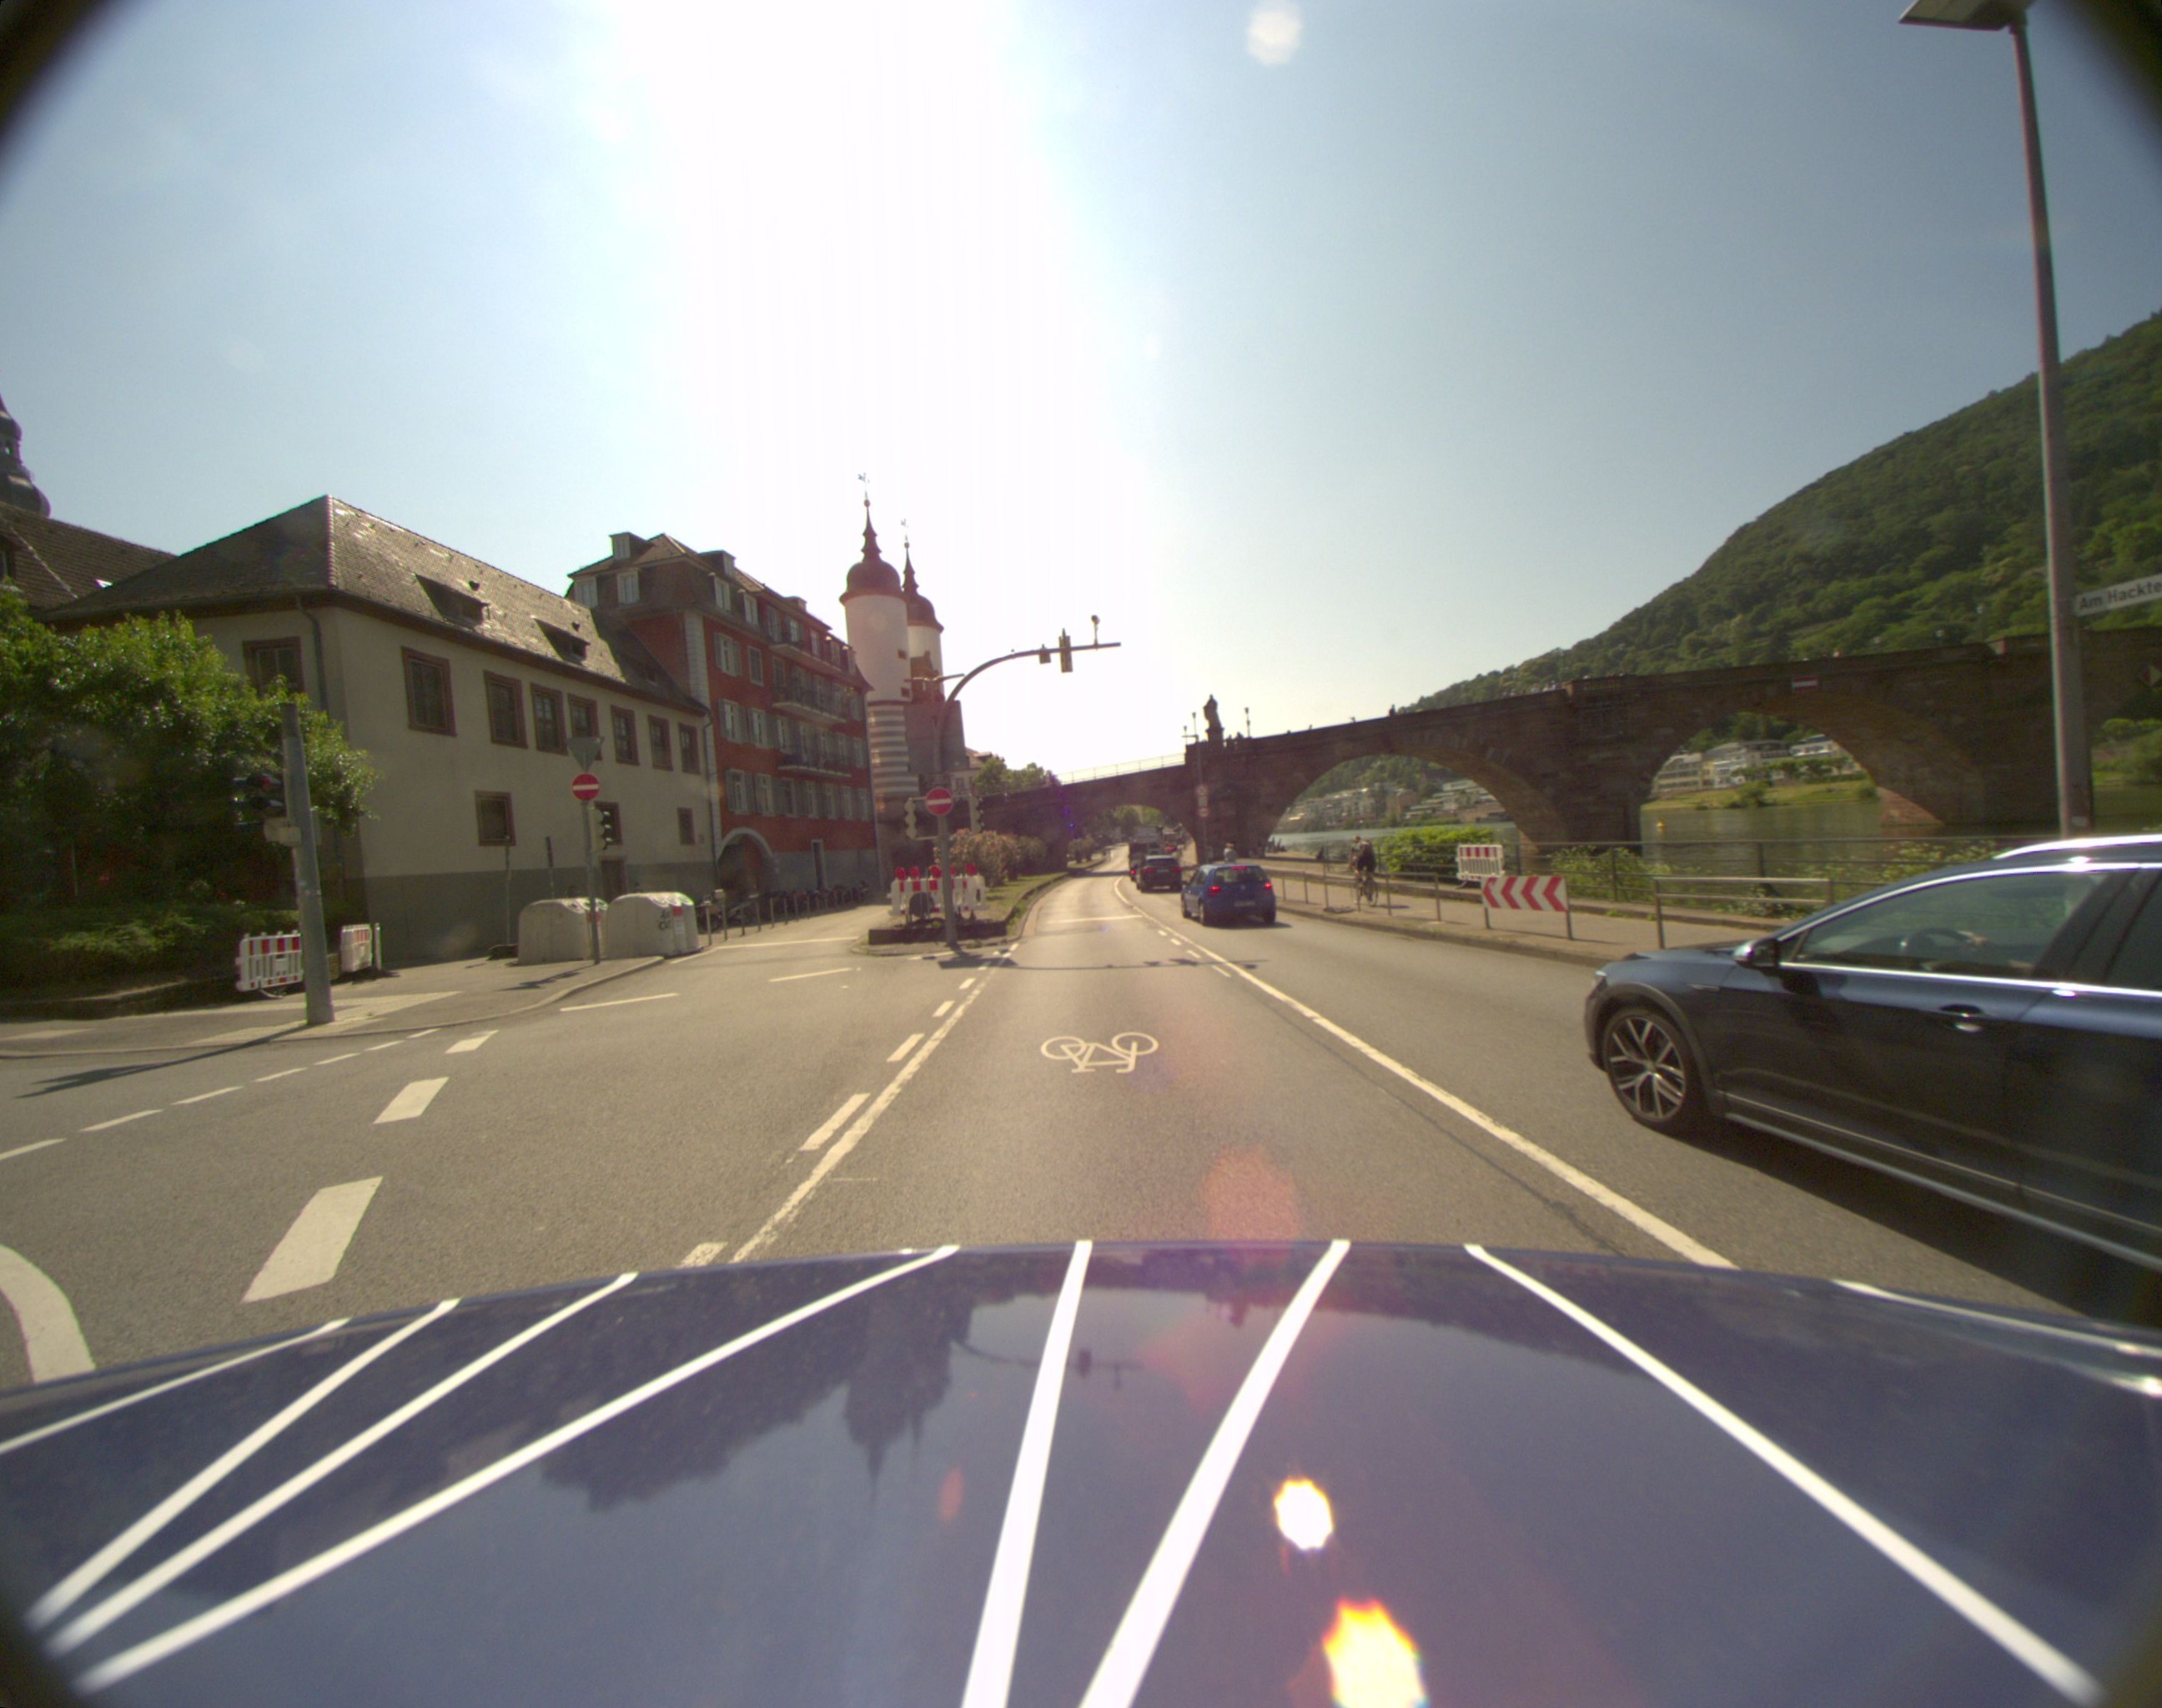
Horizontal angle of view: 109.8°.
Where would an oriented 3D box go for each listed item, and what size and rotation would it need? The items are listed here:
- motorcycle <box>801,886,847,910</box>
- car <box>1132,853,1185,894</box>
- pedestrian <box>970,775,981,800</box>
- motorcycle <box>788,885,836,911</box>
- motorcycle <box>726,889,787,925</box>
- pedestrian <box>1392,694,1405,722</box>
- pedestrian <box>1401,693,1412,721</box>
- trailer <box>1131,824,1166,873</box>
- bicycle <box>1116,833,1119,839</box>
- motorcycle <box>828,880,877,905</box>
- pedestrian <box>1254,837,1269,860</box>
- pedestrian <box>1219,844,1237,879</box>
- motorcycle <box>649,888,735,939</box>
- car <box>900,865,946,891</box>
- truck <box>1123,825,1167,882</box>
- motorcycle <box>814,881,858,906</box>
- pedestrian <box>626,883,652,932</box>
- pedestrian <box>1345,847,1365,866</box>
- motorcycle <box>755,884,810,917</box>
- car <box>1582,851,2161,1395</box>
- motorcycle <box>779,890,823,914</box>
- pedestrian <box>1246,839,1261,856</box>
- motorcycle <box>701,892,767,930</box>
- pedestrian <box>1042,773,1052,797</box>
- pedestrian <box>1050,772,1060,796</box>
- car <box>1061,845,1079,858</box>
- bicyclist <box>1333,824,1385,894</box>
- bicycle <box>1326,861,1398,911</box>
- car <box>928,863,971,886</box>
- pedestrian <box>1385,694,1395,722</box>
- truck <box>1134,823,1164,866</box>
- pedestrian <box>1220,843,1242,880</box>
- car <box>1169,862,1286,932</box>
[{"bbox_3d":[-13.853,2.379,41.048,2.201,1.070,0.627,-5,1,-39],"label":"motorcycle"},{"bbox_3d":[3.517,0.846,35.232,1.868,1.671,4.453,-3,0,-1],"label":"car"},{"bbox_3d":[-8.883,-5.564,63.924,0.640,2.003,0.707,-3,3,7],"label":"pedestrian"},{"bbox_3d":[-14.004,2.257,39.581,2.201,1.141,0.627,-5,1,-39],"label":"motorcycle"},{"bbox_3d":[-13.589,2.208,31.870,2.201,1.260,0.627,-4,1,-31],"label":"motorcycle"},{"bbox_3d":[24.345,-11.183,58.293,0.694,2.003,0.625,-4,3,0],"label":"pedestrian"},{"bbox_3d":[24.967,-11.287,58.271,0.467,2.003,0.639,-4,3,0],"label":"pedestrian"},{"bbox_3d":[5.729,-0.621,64.058,2.529,3.624,11.532,-3,2,5],"label":"trailer"},{"bbox_3d":[8.174,-3.965,169.954,0.476,1.255,2.163,-2,2,8],"label":"bicycle"},{"bbox_3d":[-13.420,2.255,44.683,2.547,1.226,0.840,-4,1,-36],"label":"motorcycle"},{"bbox_3d":[13.091,-0.407,55.185,0.790,1.641,0.774,-5,1,2],"label":"pedestrian"},{"bbox_3d":[7.646,0.385,39.513,0.520,1.782,0.823,-4,1,31],"label":"pedestrian"},{"bbox_3d":[-13.714,2.067,26.816,2.501,1.524,1.051,-3,1,-34],"label":"motorcycle"},{"bbox_3d":[-11.555,1.726,55.747,1.674,1.533,3.813,-5,1,13],"label":"car"},{"bbox_3d":[4.035,-0.056,48.816,2.381,3.242,7.612,-4,0,4],"label":"truck"},{"bbox_3d":[-13.784,2.228,42.764,2.156,1.226,0.840,-4,1,-36],"label":"motorcycle"},{"bbox_3d":[-17.133,2.067,29.469,0.496,1.813,0.619,-3,3,1],"label":"pedestrian"},{"bbox_3d":[16.860,0.155,46.712,0.967,1.124,0.831,-4,1,9],"label":"pedestrian"},{"bbox_3d":[-13.774,2.125,35.097,2.186,1.260,0.781,-4,1,-31],"label":"motorcycle"},{"bbox_3d":[3.845,0.739,2.176,1.813,1.398,4.356,-4,0,-1],"label":"car"},{"bbox_3d":[-13.986,2.379,37.944,1.935,0.981,0.546,-5,1,-39],"label":"motorcycle"},{"bbox_3d":[12.730,-0.465,56.130,0.790,1.222,1.026,-5,0,2],"label":"pedestrian"},{"bbox_3d":[-13.753,2.224,30.107,2.239,1.245,0.627,-4,1,-31],"label":"motorcycle"},{"bbox_3d":[-2.980,-6.000,65.981,0.640,2.003,0.707,-3,3,7],"label":"pedestrian"},{"bbox_3d":[-2.201,-6.017,65.123,0.640,2.003,0.707,-3,3,7],"label":"pedestrian"},{"bbox_3d":[-1.487,-0.342,104.366,1.614,1.406,3.905,-4,2,12],"label":"car"},{"bbox_3d":[6.841,0.128,18.734,0.669,1.622,0.979,-5,1,-9],"label":"bicyclist"},{"bbox_3d":[6.897,0.765,18.762,0.669,1.106,2.033,-6,0,-9],"label":"bicycle"},{"bbox_3d":[-10.434,1.570,60.498,1.896,1.484,4.418,-3,1,10],"label":"car"},{"bbox_3d":[23.723,-11.213,58.320,0.467,2.003,0.639,-4,3,0],"label":"pedestrian"},{"bbox_3d":[6.338,-0.857,70.425,2.529,3.727,6.248,-2,1,6],"label":"truck"},{"bbox_3d":[7.246,0.379,36.643,0.758,1.713,0.543,-5,1,-33],"label":"pedestrian"},{"bbox_3d":[3.526,1.007,19.136,1.734,1.482,4.324,-3,-1,-5],"label":"car"}]
